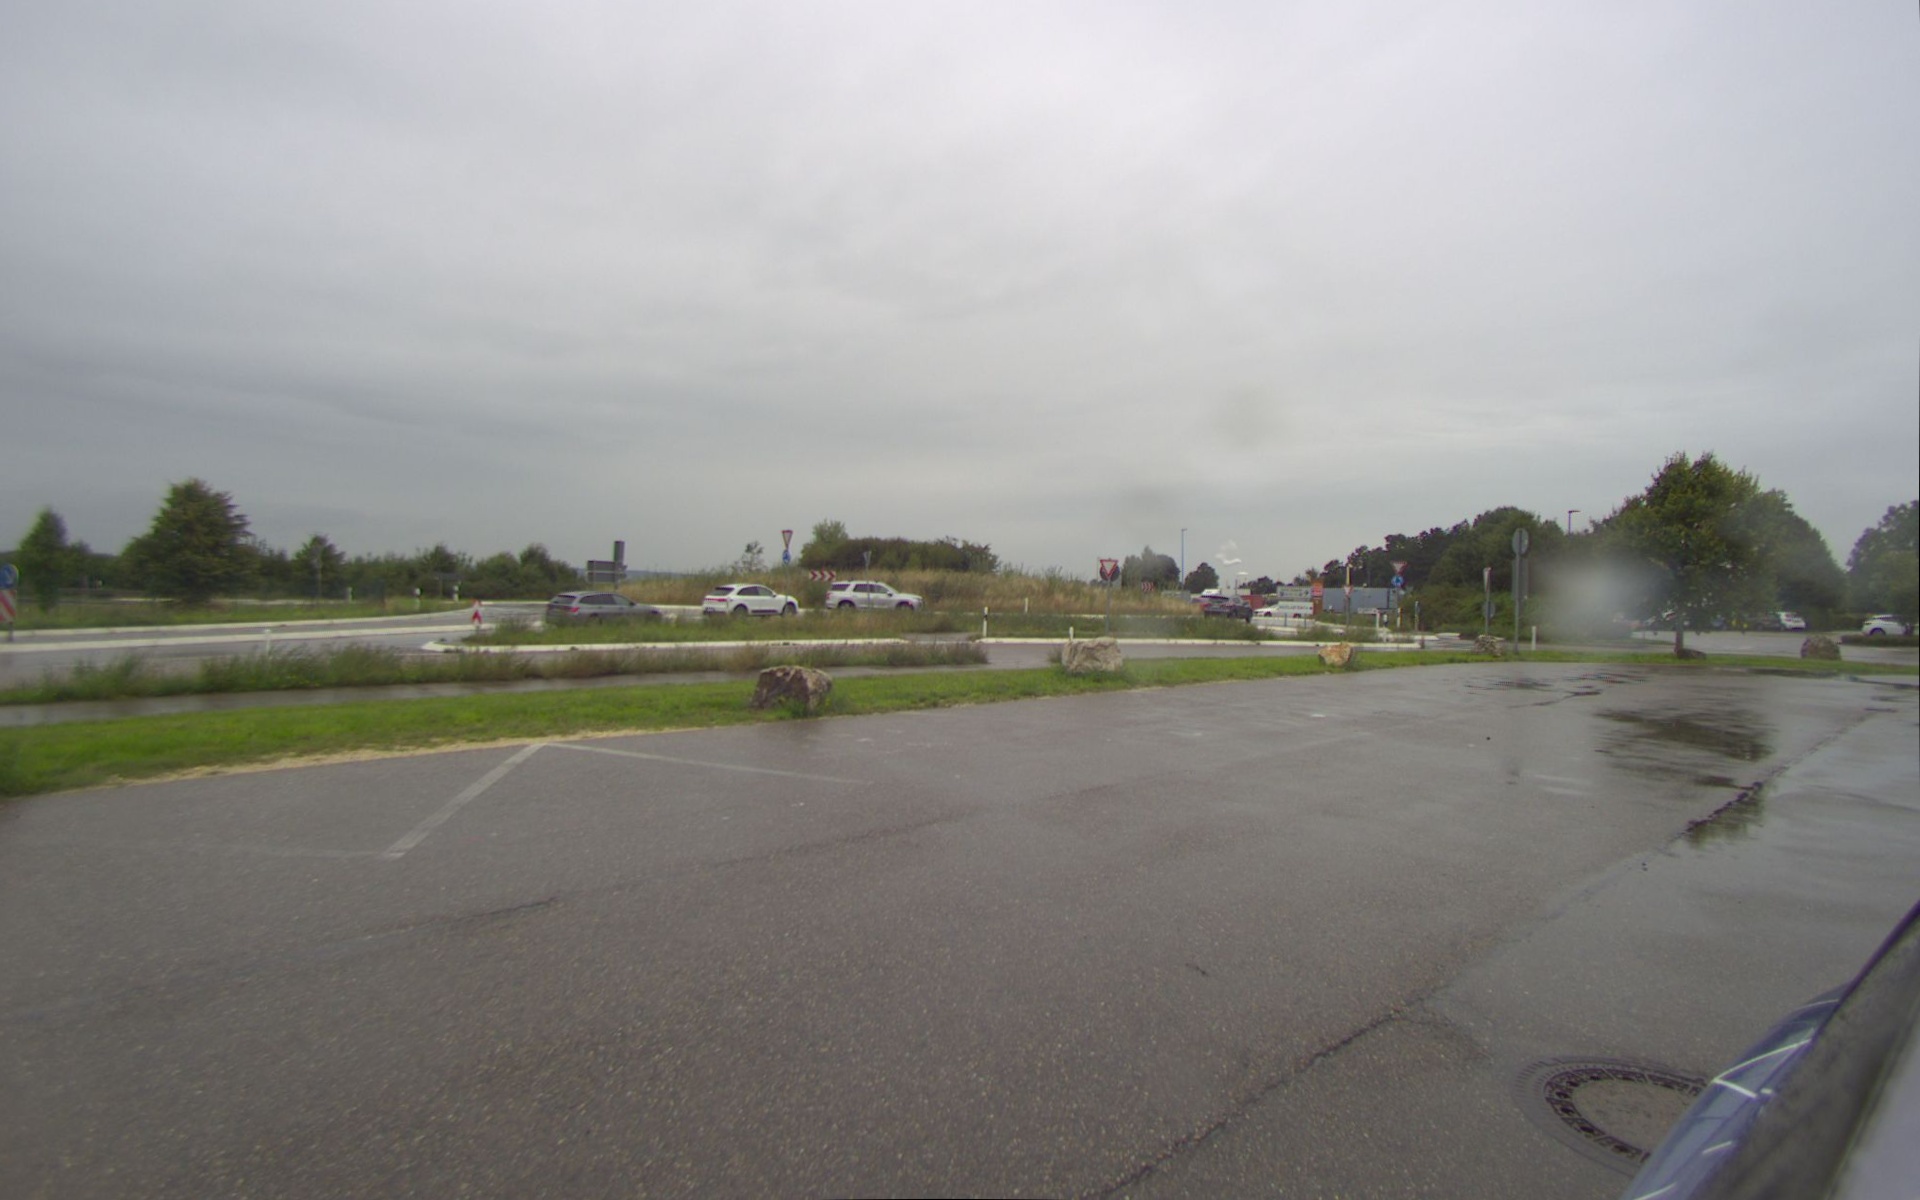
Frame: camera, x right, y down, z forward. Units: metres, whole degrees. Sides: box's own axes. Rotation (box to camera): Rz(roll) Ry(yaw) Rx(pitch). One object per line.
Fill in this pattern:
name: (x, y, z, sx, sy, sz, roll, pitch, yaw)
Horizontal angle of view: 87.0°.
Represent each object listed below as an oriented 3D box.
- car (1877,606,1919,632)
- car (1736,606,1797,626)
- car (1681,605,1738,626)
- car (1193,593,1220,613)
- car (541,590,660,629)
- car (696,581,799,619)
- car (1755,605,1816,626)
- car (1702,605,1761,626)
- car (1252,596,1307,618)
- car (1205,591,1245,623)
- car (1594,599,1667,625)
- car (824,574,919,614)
car: (56.576, 1.117, 59.293, 4.176, 1.516, 1.690, 1, 0, 44)
car: (61.148, 1.201, 76.806, 1.555, 1.476, 3.682, 0, 0, -2)
car: (56.399, 1.142, 76.224, 1.526, 1.476, 3.682, 0, 0, -2)
car: (19.778, 0.231, 81.194, 1.489, 1.535, 3.404, 0, 0, 4)
car: (-13.287, 0.314, 37.610, 1.681, 1.342, 3.997, 1, 0, 32)
car: (-9.313, -0.023, 44.583, 1.686, 1.604, 4.322, 1, 0, 40)
car: (63.492, 1.185, 77.875, 1.555, 1.476, 3.682, 0, 0, -2)
car: (58.702, 1.168, 77.087, 1.555, 1.476, 3.682, 0, 0, -2)
car: (28.047, 0.603, 88.897, 4.274, 1.781, 1.752, 1, -1, -15)
car: (15.645, 0.391, 59.639, 1.697, 1.839, 3.684, 0, 0, 24)
car: (42.985, 0.730, 64.917, 3.733, 1.570, 1.427, 1, 0, 45)
car: (-4.300, -0.280, 49.829, 4.555, 1.896, 2.000, 1, 0, -1)
